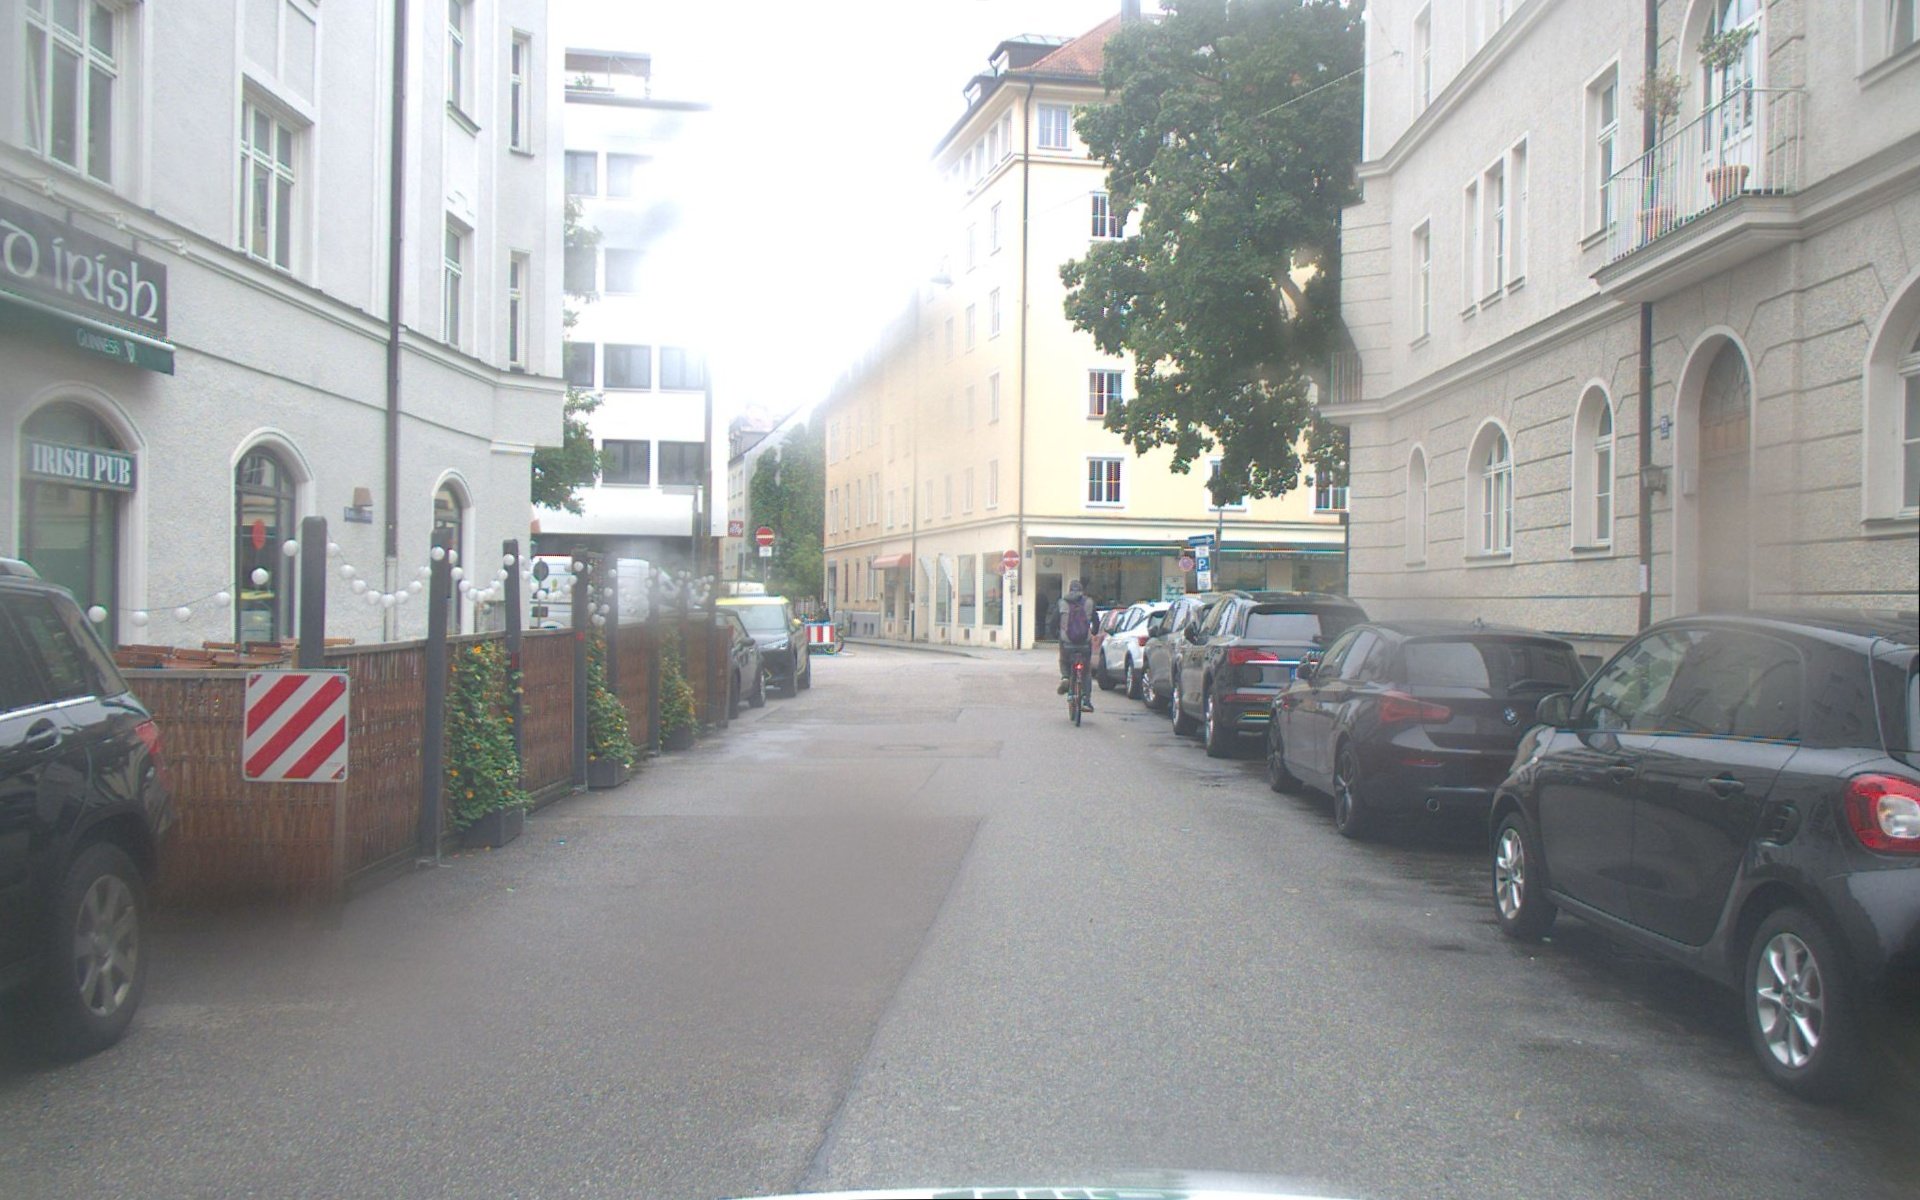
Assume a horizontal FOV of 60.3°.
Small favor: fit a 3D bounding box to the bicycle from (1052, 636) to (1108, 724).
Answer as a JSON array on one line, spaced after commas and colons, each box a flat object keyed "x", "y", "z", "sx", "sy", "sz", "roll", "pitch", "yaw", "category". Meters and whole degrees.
[{"x": 1.497, "y": 0.986, "z": 20.834, "sx": 0.626, "sy": 1.022, "sz": 1.574, "roll": 1, "pitch": 0, "yaw": 2, "category": "bicycle"}]

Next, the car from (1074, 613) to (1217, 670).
[{"x": 5.320, "y": 1.223, "z": 47.747, "sx": 3.905, "sy": 1.441, "sz": 1.820, "roll": 2, "pitch": -4, "yaw": 0, "category": "car"}]

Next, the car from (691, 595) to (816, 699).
[{"x": -3.420, "y": 0.760, "z": 27.978, "sx": 1.642, "sy": 1.625, "sz": 3.944, "roll": -1, "pitch": -1, "yaw": 0, "category": "car"}]

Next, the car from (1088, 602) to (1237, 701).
[{"x": 3.365, "y": 0.826, "z": 28.121, "sx": 1.716, "sy": 1.522, "sz": 3.905, "roll": 2, "pitch": 0, "yaw": -5, "category": "car"}]

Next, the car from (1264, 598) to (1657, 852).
[{"x": 3.420, "y": 0.755, "z": 12.123, "sx": 1.671, "sy": 1.496, "sz": 4.201, "roll": 1, "pitch": 0, "yaw": 1, "category": "car"}]

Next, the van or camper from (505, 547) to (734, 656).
[{"x": -8.987, "y": 0.076, "z": 44.044, "sx": 5.797, "sy": 2.724, "sz": 1.868, "roll": 1, "pitch": -2, "yaw": -10, "category": "van or camper"}]

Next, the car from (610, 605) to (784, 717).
[{"x": -3.579, "y": 0.794, "z": 23.150, "sx": 1.671, "sy": 1.414, "sz": 4.001, "roll": 0, "pitch": 0, "yaw": 2, "category": "car"}]

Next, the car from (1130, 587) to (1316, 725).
[{"x": 3.630, "y": 0.732, "z": 23.576, "sx": 1.754, "sy": 1.743, "sz": 4.424, "roll": 1, "pitch": 0, "yaw": -3, "category": "car"}]

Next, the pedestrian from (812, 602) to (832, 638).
[{"x": -7.021, "y": 0.992, "z": 84.259, "sx": 0.862, "sy": 1.809, "sz": 0.771, "roll": 1, "pitch": -1, "yaw": -13, "category": "pedestrian"}]

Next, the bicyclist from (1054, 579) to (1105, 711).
[{"x": 1.502, "y": 0.557, "z": 20.911, "sx": 0.593, "sy": 1.635, "sz": 0.757, "roll": 1, "pitch": 0, "yaw": 2, "category": "bicyclist"}]

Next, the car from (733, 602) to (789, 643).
[{"x": -7.981, "y": 0.866, "z": 66.156, "sx": 1.801, "sy": 1.562, "sz": 3.986, "roll": 1, "pitch": 0, "yaw": -13, "category": "car"}]

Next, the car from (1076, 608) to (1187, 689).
[{"x": 3.390, "y": 0.932, "z": 33.369, "sx": 1.636, "sy": 1.460, "sz": 4.212, "roll": 2, "pitch": 0, "yaw": -2, "category": "car"}]

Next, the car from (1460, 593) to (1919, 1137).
[{"x": 3.413, "y": 0.781, "z": 6.577, "sx": 1.621, "sy": 1.552, "sz": 3.635, "roll": 2, "pitch": 0, "yaw": -2, "category": "car"}]

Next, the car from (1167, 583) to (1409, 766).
[{"x": 3.388, "y": 0.710, "z": 17.892, "sx": 1.741, "sy": 1.664, "sz": 4.375, "roll": 3, "pitch": 0, "yaw": 1, "category": "car"}]

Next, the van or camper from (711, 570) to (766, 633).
[{"x": -9.626, "y": 0.072, "z": 71.680, "sx": 1.958, "sy": 2.584, "sz": 4.746, "roll": 1, "pitch": 0, "yaw": -12, "category": "van or camper"}]

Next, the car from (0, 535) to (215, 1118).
[{"x": -3.641, "y": 0.685, "z": 4.216, "sx": 1.711, "sy": 1.702, "sz": 4.273, "roll": -2, "pitch": 0, "yaw": -3, "category": "car"}]
